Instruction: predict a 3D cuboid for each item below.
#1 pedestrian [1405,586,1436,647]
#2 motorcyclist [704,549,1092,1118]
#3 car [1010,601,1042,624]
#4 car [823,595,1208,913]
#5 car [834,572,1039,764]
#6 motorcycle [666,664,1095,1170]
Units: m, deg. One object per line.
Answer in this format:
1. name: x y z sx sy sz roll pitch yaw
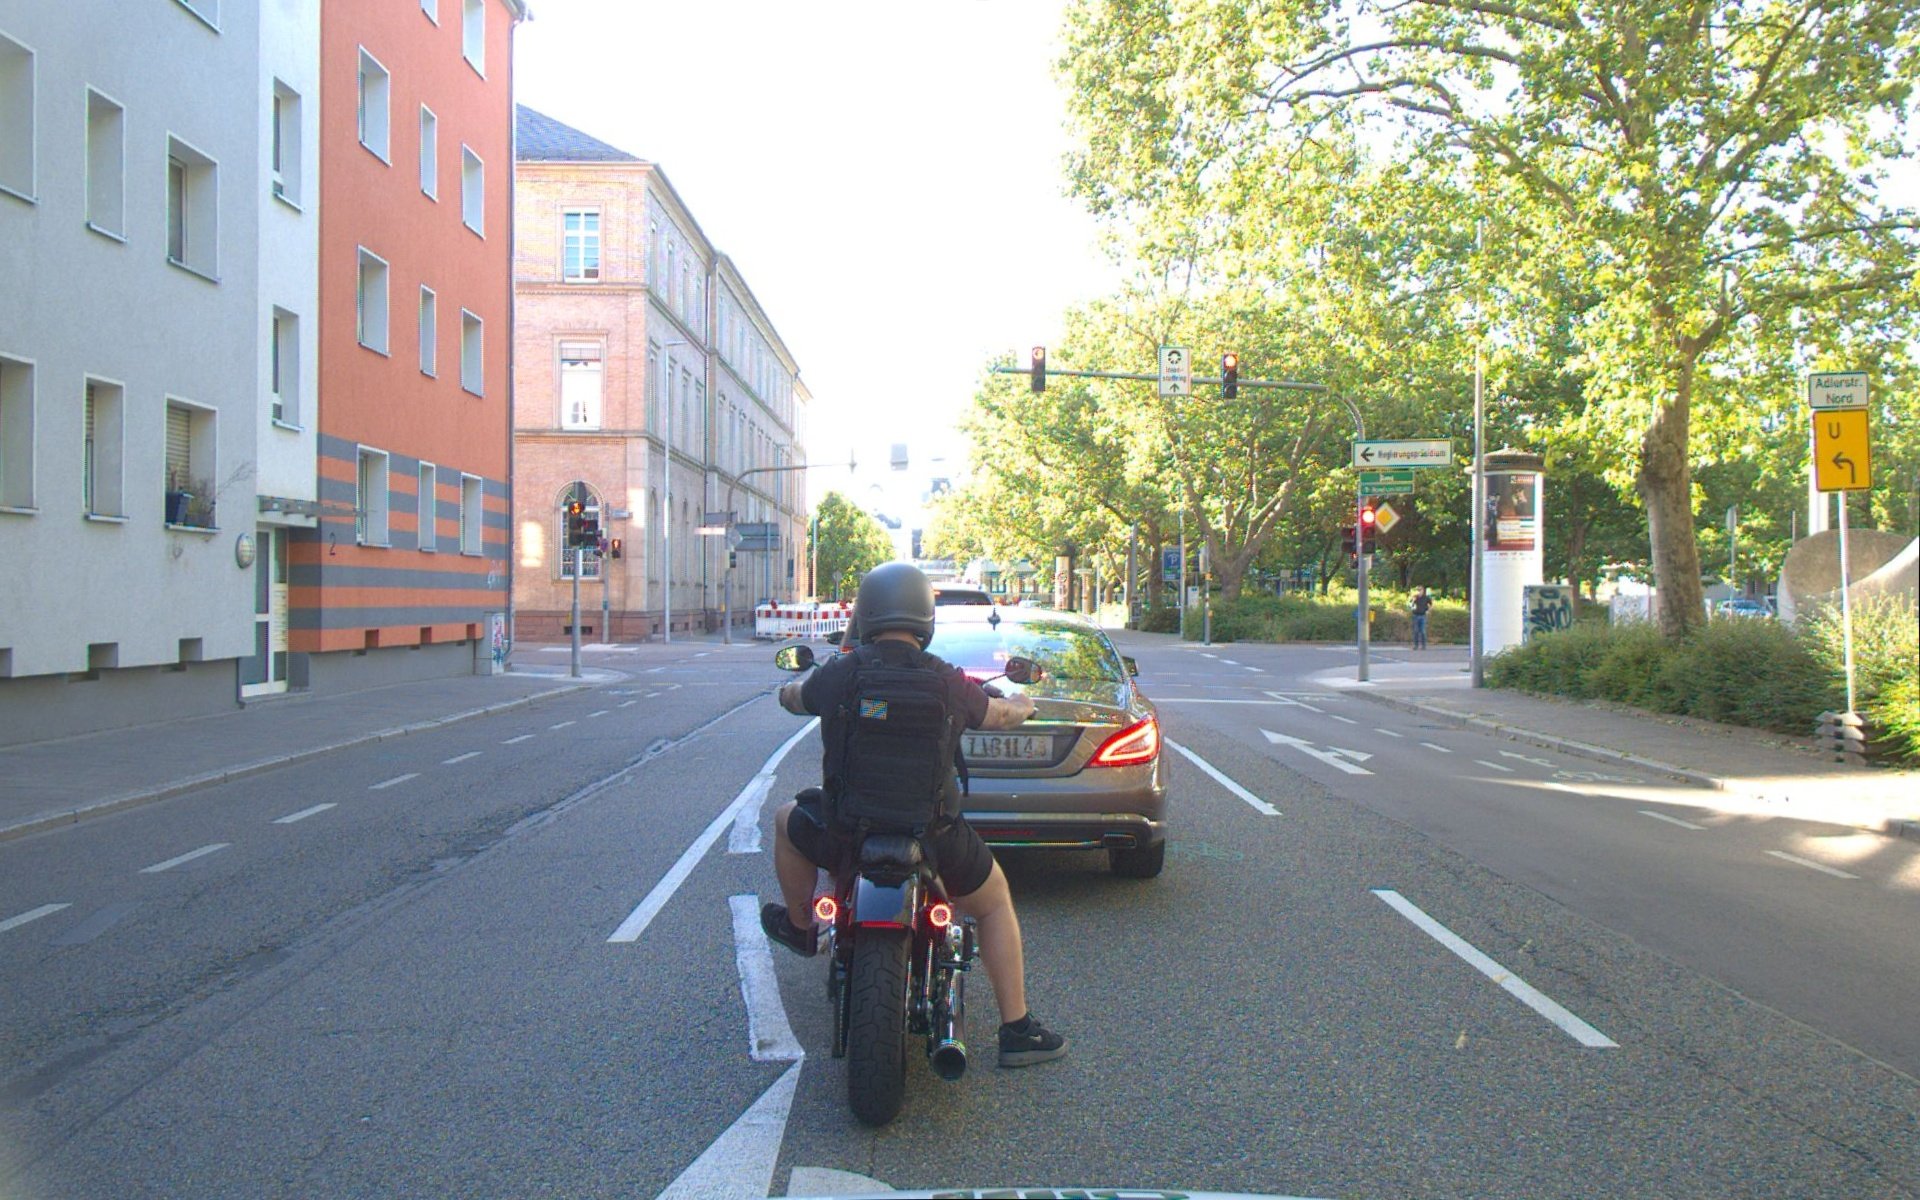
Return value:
1. pedestrian: 13.811 0.490 49.608 0.722 1.809 0.728 1 -1 29
2. motorcyclist: -0.139 0.661 5.261 1.076 1.593 1.072 1 0 5
3. car: 3.818 0.695 96.092 1.598 1.281 3.715 1 0 -1
4. car: 0.235 0.731 9.654 1.785 1.462 3.805 1 0 -1
5. car: -0.238 0.623 16.926 1.825 1.707 3.999 1 0 -1
6. motorcycle: -0.127 0.872 5.481 1.094 1.228 2.213 1 0 5
